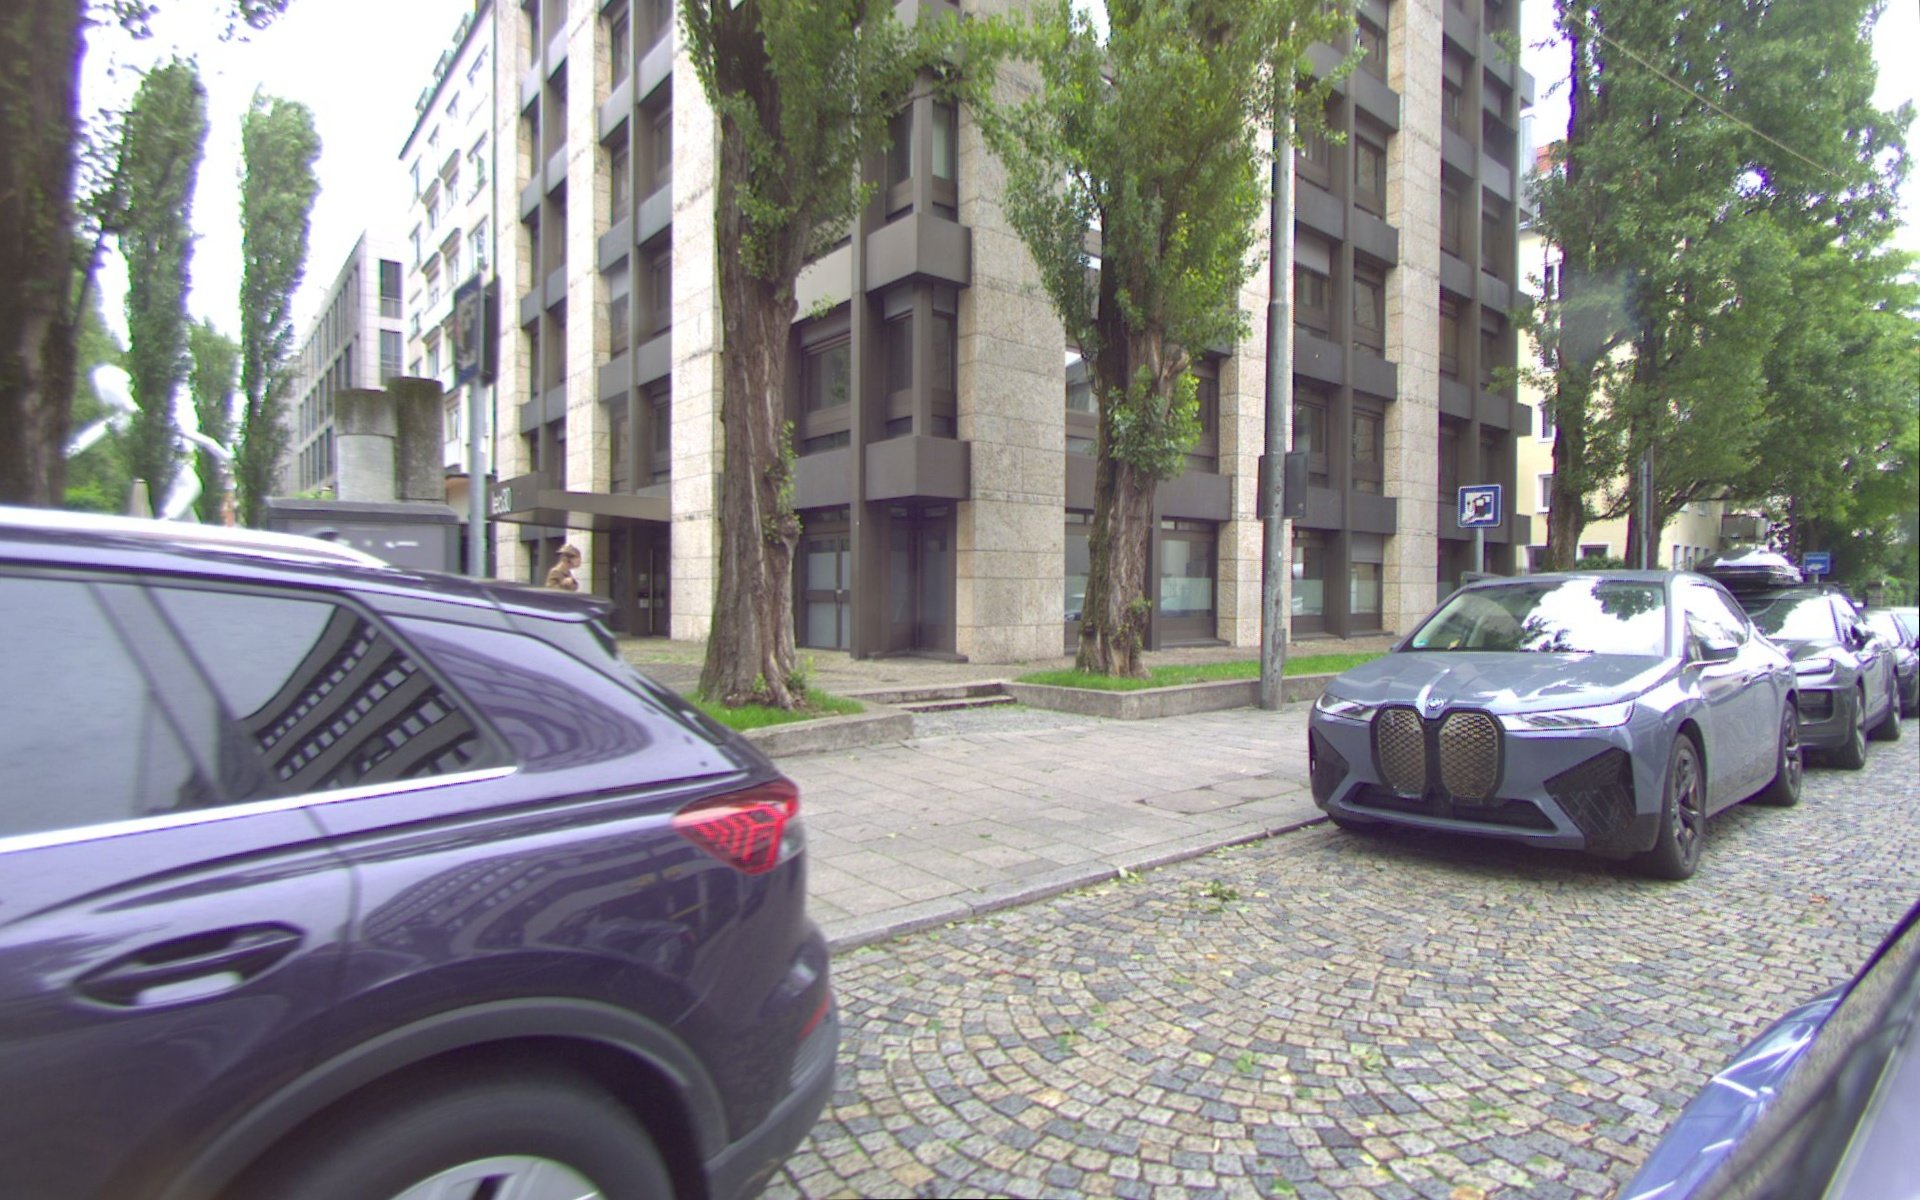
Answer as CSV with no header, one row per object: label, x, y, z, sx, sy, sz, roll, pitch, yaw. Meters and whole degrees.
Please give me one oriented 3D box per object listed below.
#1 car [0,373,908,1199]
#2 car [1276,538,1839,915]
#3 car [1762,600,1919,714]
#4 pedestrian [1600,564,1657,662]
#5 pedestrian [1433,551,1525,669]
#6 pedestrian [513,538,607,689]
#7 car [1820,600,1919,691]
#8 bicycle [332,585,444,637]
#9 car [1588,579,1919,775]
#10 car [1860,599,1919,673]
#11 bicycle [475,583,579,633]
car,-2.274,0.602,1.398,4.129,1.722,1.923,0,0,-42
car,4.298,0.568,6.924,4.592,1.722,2.016,0,0,-42
car,13.009,0.714,14.651,4.137,1.408,1.720,0,0,-45
pedestrian,10.991,0.205,16.639,0.697,1.556,0.644,0,0,-43
pedestrian,7.937,0.144,15.506,0.893,1.735,0.871,0,0,-20
pedestrian,-4.474,0.141,11.345,0.698,1.627,0.718,0,0,12
car,16.374,0.733,17.613,3.500,1.449,1.603,0,-2,-41
bicycle,-13.359,0.241,23.693,2.206,1.170,0.647,0,0,-40
car,8.325,0.618,10.464,4.267,1.603,1.996,0,0,-42
car,20.143,0.696,20.772,3.806,1.405,1.997,0,-1,-41
bicycle,-10.419,0.177,24.408,2.206,1.170,0.647,0,0,-40
